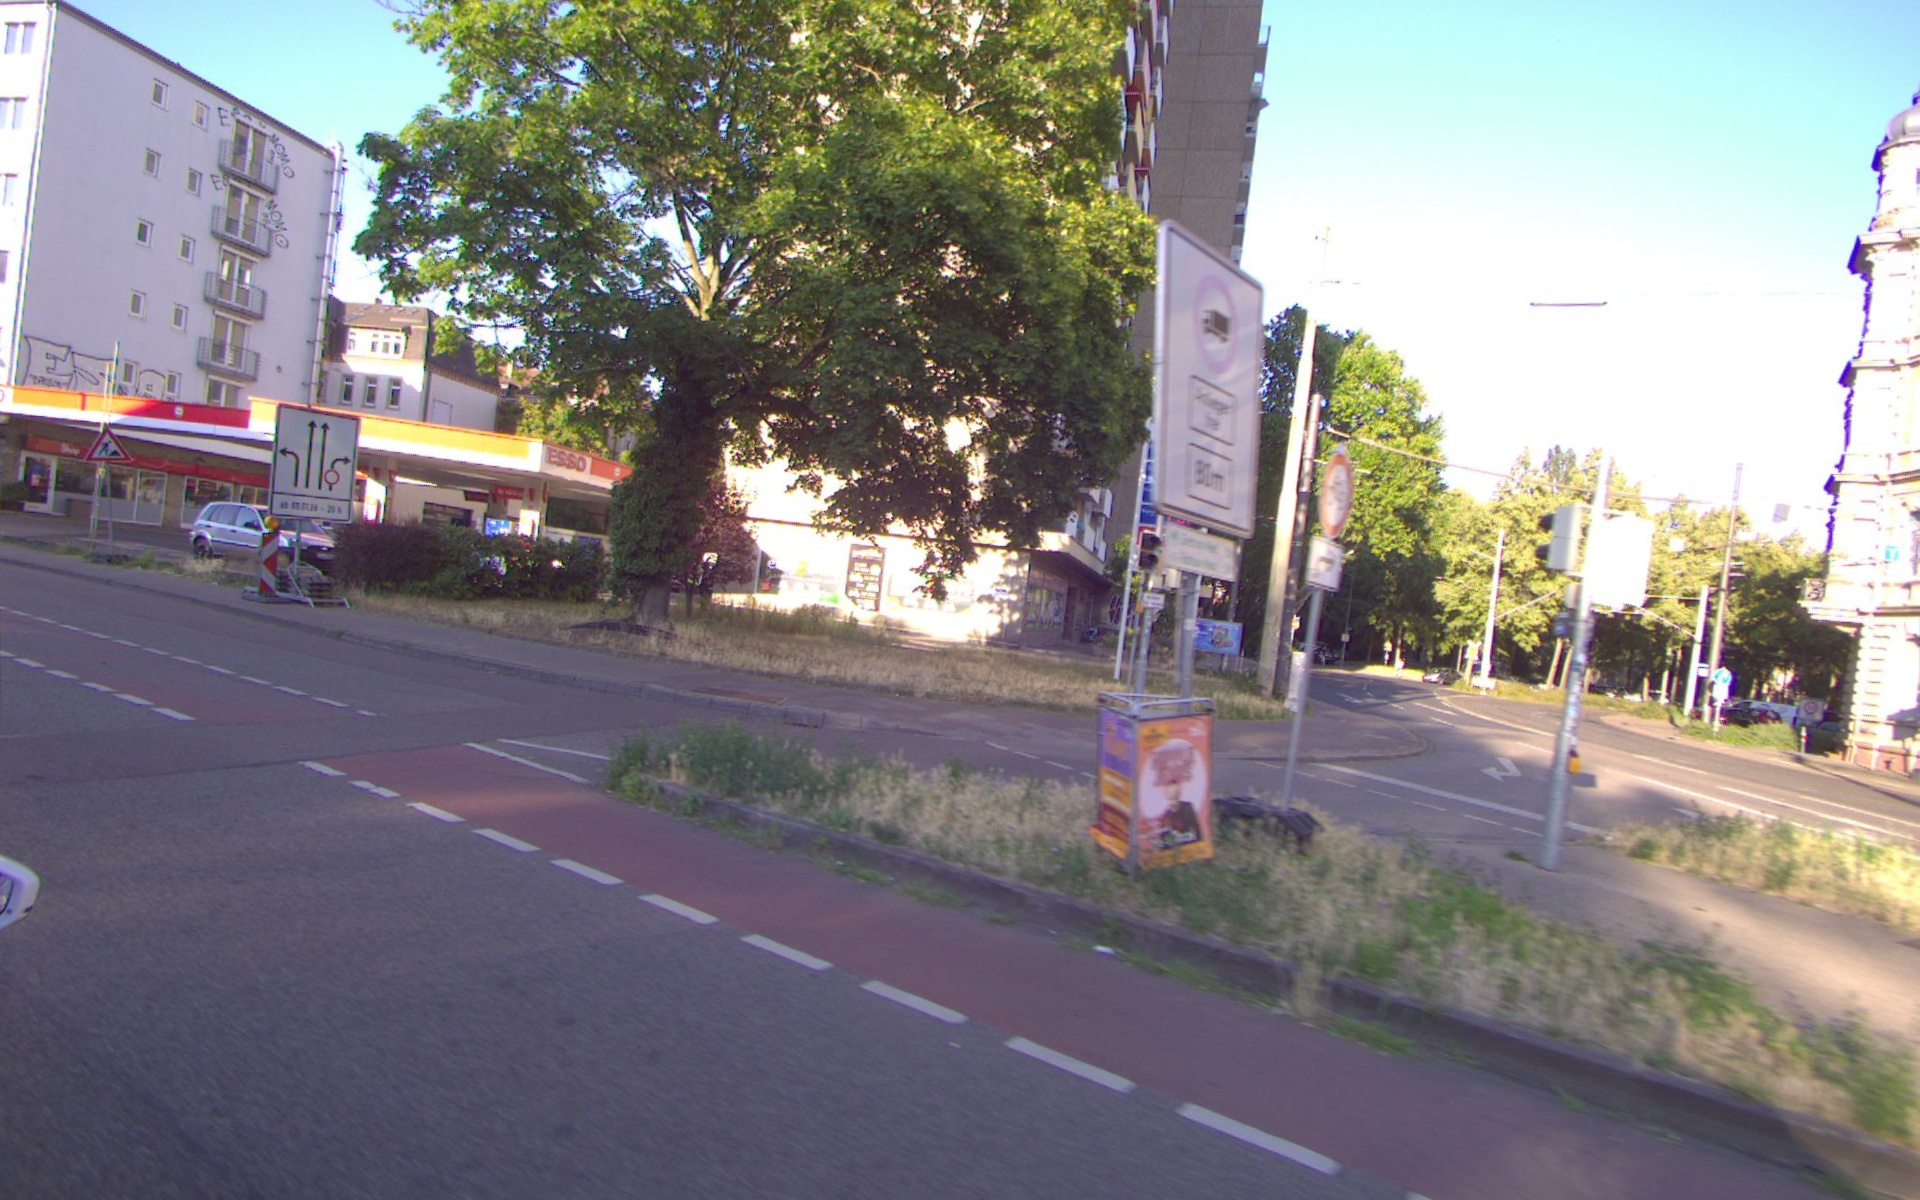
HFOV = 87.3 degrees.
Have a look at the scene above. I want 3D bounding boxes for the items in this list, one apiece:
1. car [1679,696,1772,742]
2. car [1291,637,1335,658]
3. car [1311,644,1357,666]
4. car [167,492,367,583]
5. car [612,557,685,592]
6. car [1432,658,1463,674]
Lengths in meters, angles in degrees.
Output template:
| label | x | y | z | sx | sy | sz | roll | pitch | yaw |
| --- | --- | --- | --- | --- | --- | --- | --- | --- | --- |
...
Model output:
| label | x | y | z | sx | sy | sz | roll | pitch | yaw |
| --- | --- | --- | --- | --- | --- | --- | --- | --- | --- |
| car | 36.116 | 5.629 | 47.439 | 3.952 | 1.638 | 1.811 | 8 | 0 | -26 |
| car | 37.063 | 4.963 | 105.800 | 3.924 | 1.638 | 1.824 | 8 | 0 | 10 |
| car | 35.168 | 5.163 | 94.699 | 3.517 | 1.477 | 1.829 | 8 | 1 | -4 |
| car | -16.558 | -1.491 | 24.043 | 4.272 | 1.549 | 1.777 | 7 | 0 | 22 |
| car | -16.998 | -1.391 | 54.929 | 3.373 | 1.398 | 1.575 | 8 | 1 | 16 |
| car | 66.667 | 9.051 | 137.586 | 3.965 | 1.615 | 1.980 | 7 | 0 | -36 |
